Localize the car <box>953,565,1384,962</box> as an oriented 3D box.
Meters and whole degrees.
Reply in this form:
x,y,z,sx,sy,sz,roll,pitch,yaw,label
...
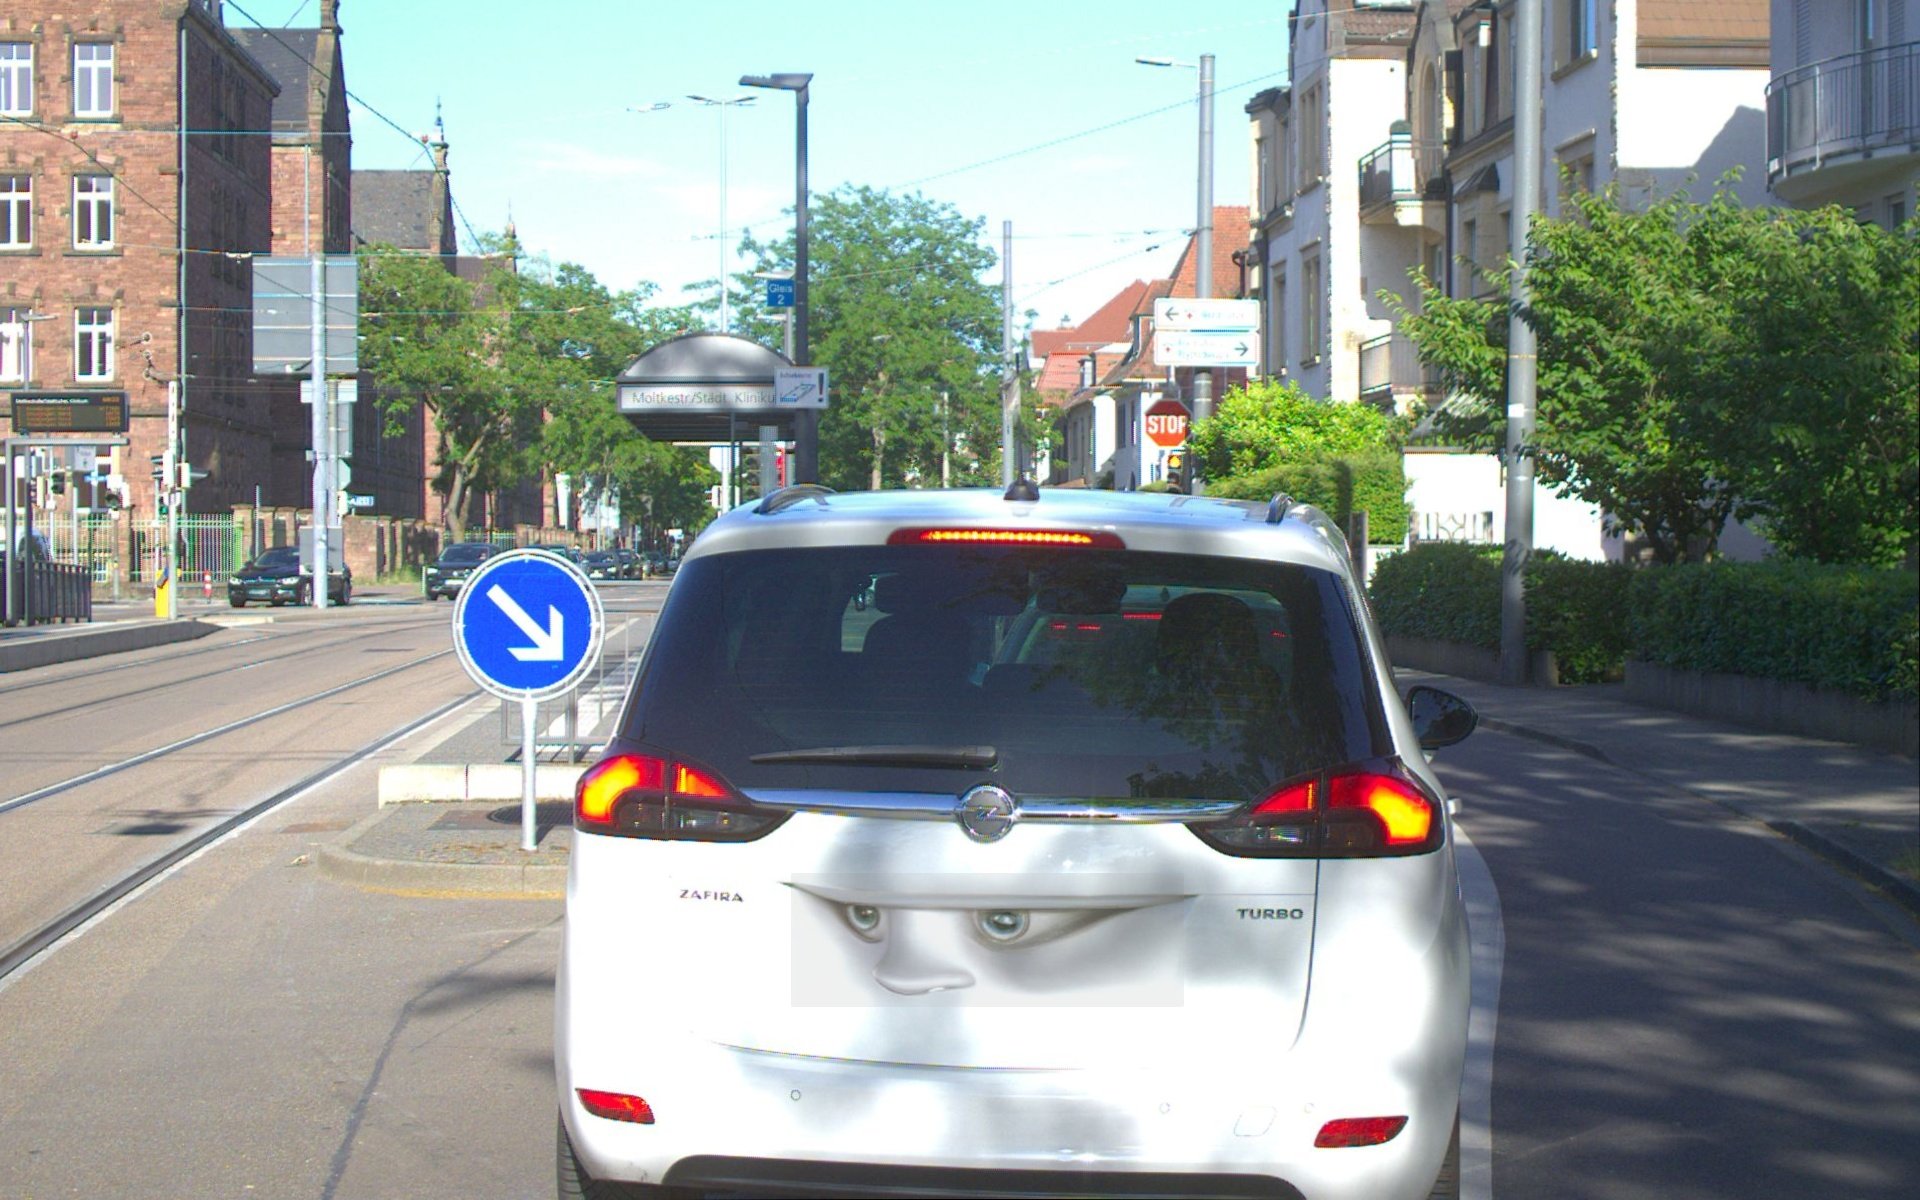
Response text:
x,y,z,sx,sy,sz,roll,pitch,yaw,label
0.943,0.592,14.786,1.569,1.396,3.783,2,1,5,car

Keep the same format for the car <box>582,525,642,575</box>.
x,y,z,sx,sy,sz,roll,pitch,yaw,label
-14.073,-2.029,139.223,1.993,2.007,4.000,0,1,1,car

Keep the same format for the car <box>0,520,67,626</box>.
x,y,z,sx,sy,sz,roll,pitch,yaw,label
-16.971,-0.497,59.816,1.827,1.782,4.255,0,1,-1,car

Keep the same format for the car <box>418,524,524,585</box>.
x,y,z,sx,sy,sz,roll,pitch,yaw,label
-13.430,-1.241,94.677,1.827,1.611,4.326,1,0,7,car

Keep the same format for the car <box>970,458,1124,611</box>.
x,y,z,sx,sy,sz,roll,pitch,yaw,label
0.977,-0.807,40.221,1.596,1.629,3.902,2,3,-1,car

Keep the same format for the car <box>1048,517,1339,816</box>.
x,y,z,sx,sy,sz,roll,pitch,yaw,label
1.463,0.333,21.035,1.569,1.609,3.783,2,1,5,car

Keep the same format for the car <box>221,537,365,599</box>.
x,y,z,sx,sy,sz,roll,pitch,yaw,label
-15.477,-0.761,79.990,1.799,1.377,4.493,0,1,10,car

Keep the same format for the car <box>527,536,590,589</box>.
x,y,z,sx,sy,sz,roll,pitch,yaw,label
-13.875,-1.285,118.936,1.827,1.782,4.328,1,0,-2,car

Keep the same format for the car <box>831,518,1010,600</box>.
x,y,z,sx,sy,sz,roll,pitch,yaw,label
-0.976,-1.031,85.439,3.994,2.007,1.997,1,1,31,car

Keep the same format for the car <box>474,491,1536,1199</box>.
x,y,z,sx,sy,sz,roll,pitch,yaw,label
0.239,0.564,8.090,1.878,1.579,3.999,1,1,5,car

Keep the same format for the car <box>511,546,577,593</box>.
x,y,z,sx,sy,sz,roll,pitch,yaw,label
-13.016,-0.950,107.673,1.826,1.441,4.328,0,0,-4,car

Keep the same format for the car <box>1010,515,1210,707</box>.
x,y,z,sx,sy,sz,roll,pitch,yaw,label
1.353,0.063,32.210,1.596,1.629,3.901,2,1,-1,car
